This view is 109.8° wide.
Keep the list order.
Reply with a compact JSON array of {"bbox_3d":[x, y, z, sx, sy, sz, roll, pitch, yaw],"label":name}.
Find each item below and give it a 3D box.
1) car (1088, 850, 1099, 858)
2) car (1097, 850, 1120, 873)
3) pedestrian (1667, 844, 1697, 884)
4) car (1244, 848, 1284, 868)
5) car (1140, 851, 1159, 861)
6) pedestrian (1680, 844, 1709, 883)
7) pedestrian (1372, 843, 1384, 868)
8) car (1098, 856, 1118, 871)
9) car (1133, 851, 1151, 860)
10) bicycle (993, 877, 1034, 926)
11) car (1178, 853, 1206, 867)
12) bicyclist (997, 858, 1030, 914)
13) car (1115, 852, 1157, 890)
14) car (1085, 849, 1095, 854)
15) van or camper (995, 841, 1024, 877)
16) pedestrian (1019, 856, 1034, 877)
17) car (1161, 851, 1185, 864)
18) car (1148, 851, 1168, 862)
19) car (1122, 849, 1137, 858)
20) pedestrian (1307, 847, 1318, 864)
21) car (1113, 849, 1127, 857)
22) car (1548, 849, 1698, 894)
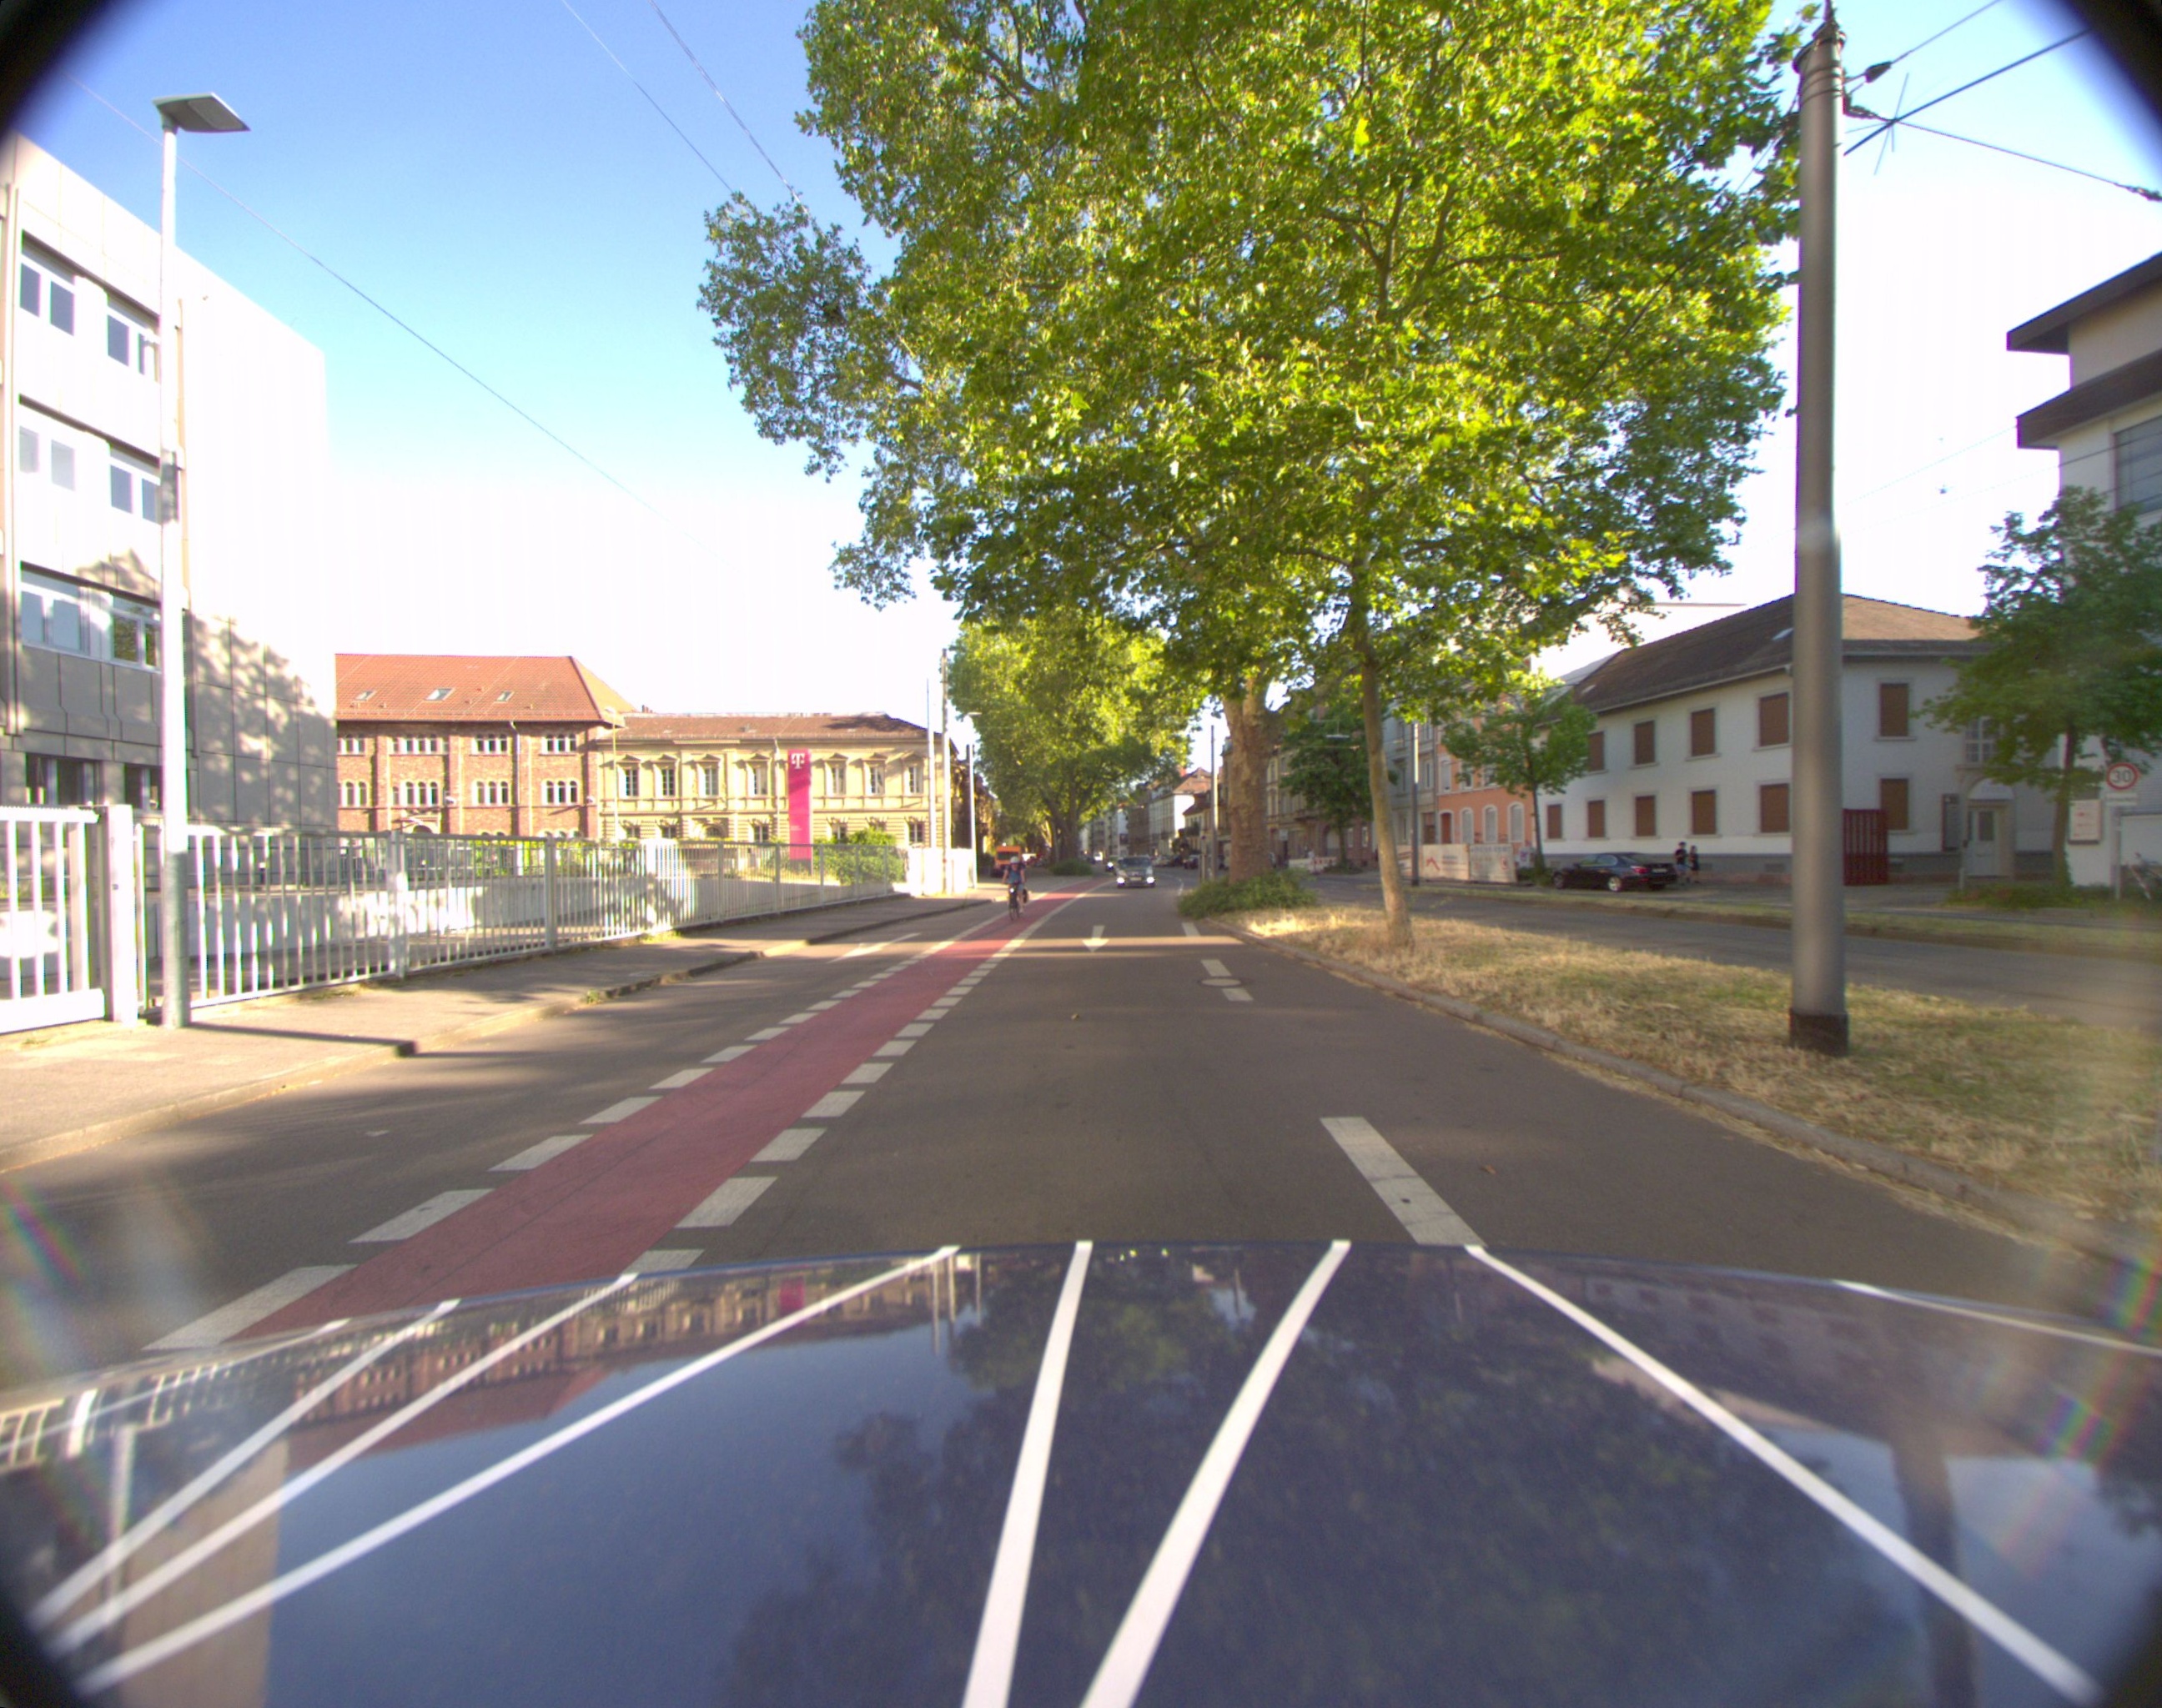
[{"bbox_3d":[2.787,-0.034,166.862,1.999,1.741,3.998,-2,1,-4],"label":"car"},{"bbox_3d":[2.607,0.710,71.453,1.998,2.002,4.000,-2,1,2],"label":"car"},{"bbox_3d":[22.941,0.372,29.018,0.537,1.519,0.711,-1,1,-11],"label":"pedestrian"},{"bbox_3d":[16.876,0.361,70.243,2.088,1.664,4.530,-4,1,-7],"label":"car"},{"bbox_3d":[10.804,0.327,120.796,2.088,1.531,4.095,-4,1,-7],"label":"car"},{"bbox_3d":[23.951,0.371,29.646,0.537,1.519,0.711,-1,1,-5],"label":"pedestrian"},{"bbox_3d":[21.687,0.096,55.485,0.561,1.798,0.704,-1,1,-7],"label":"pedestrian"},{"bbox_3d":[2.803,0.979,78.331,1.998,1.376,4.000,-2,1,2],"label":"car"},{"bbox_3d":[10.475,0.246,130.706,2.088,1.531,4.253,-4,1,-7],"label":"car"},{"bbox_3d":[-1.767,1.238,20.366,0.764,1.137,2.307,-1,0,3],"label":"bicycle"},{"bbox_3d":[13.528,0.690,92.922,2.088,1.531,4.513,-4,1,-7],"label":"car"},{"bbox_3d":[-1.792,0.841,20.241,0.727,1.414,0.859,-2,1,3],"label":"bicyclist"},{"bbox_3d":[2.850,0.822,38.511,1.907,1.634,4.518,-3,1,6],"label":"car"},{"bbox_3d":[2.531,-0.707,218.654,2.088,1.531,4.124,-4,1,-7],"label":"car"},{"bbox_3d":[-5.453,0.349,58.705,1.999,2.578,5.623,-2,1,-4],"label":"van or camper"},{"bbox_3d":[-3.785,0.887,53.043,0.898,1.464,0.810,-1,1,4],"label":"pedestrian"},{"bbox_3d":[12.751,0.471,105.997,2.088,1.531,5.101,-4,1,-7],"label":"car"},{"bbox_3d":[11.600,0.364,114.876,2.088,1.531,4.036,-4,1,-7],"label":"car"},{"bbox_3d":[9.005,-0.046,140.917,2.088,1.531,4.006,-4,1,-7],"label":"car"},{"bbox_3d":[20.552,0.107,67.424,0.642,1.519,0.614,-1,1,-18],"label":"pedestrian"},{"bbox_3d":[7.918,-0.150,156.224,2.088,1.531,4.117,-4,1,-7],"label":"car"},{"bbox_3d":[20.523,0.616,29.053,2.088,1.462,4.576,-4,1,-7],"label":"car"}]
